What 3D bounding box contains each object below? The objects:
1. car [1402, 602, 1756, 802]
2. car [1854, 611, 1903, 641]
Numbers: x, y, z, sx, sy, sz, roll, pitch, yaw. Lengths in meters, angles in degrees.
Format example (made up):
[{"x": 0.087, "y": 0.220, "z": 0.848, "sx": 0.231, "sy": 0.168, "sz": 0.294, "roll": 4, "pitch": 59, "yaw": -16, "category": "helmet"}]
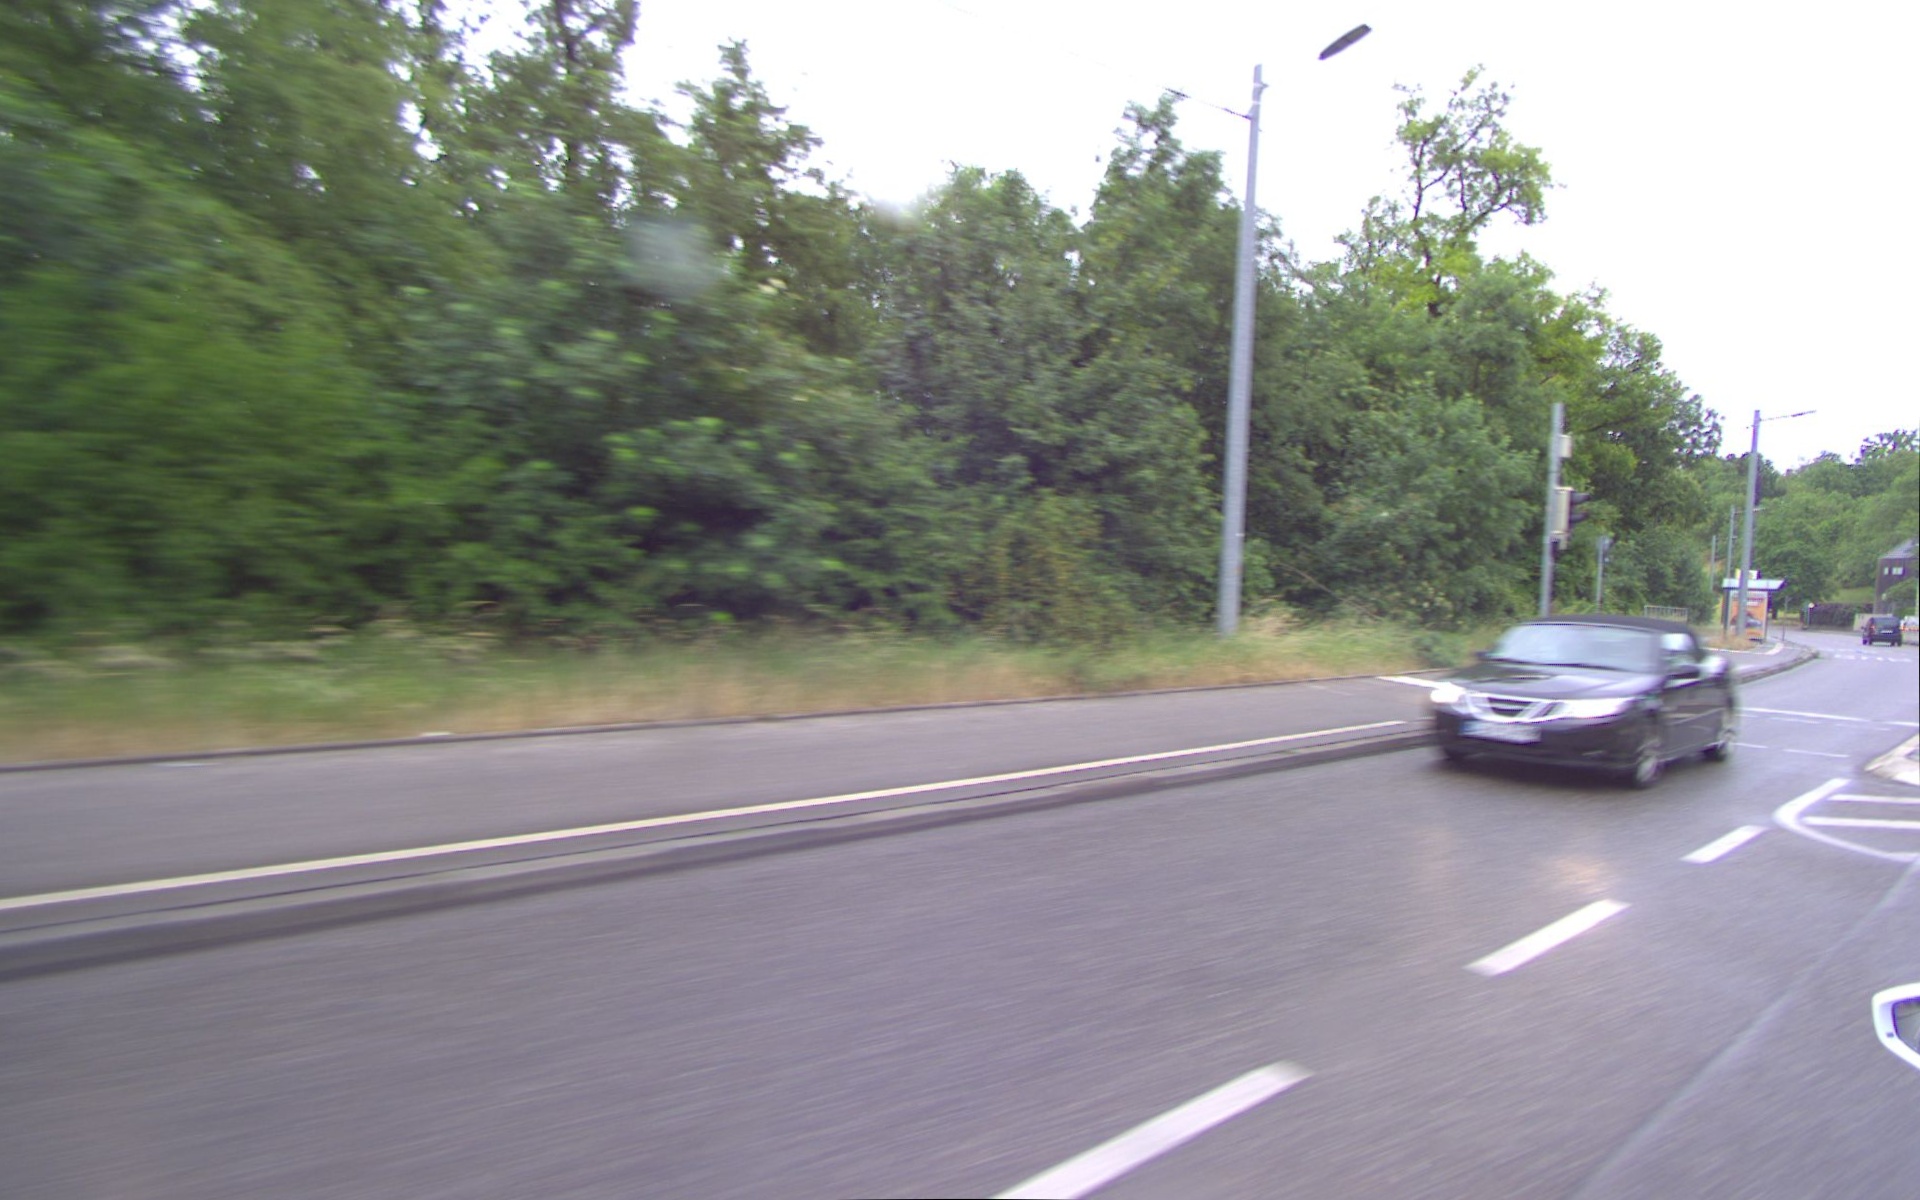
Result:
[{"x": 6.187, "y": 0.837, "z": 9.812, "sx": 4.380, "sy": 1.479, "sz": 1.728, "roll": 2, "pitch": 0, "yaw": -42, "category": "car"}, {"x": 60.149, "y": 1.659, "z": 65.849, "sx": 1.907, "sy": 1.775, "sz": 3.984, "roll": 3, "pitch": 1, "yaw": 37, "category": "car"}]
